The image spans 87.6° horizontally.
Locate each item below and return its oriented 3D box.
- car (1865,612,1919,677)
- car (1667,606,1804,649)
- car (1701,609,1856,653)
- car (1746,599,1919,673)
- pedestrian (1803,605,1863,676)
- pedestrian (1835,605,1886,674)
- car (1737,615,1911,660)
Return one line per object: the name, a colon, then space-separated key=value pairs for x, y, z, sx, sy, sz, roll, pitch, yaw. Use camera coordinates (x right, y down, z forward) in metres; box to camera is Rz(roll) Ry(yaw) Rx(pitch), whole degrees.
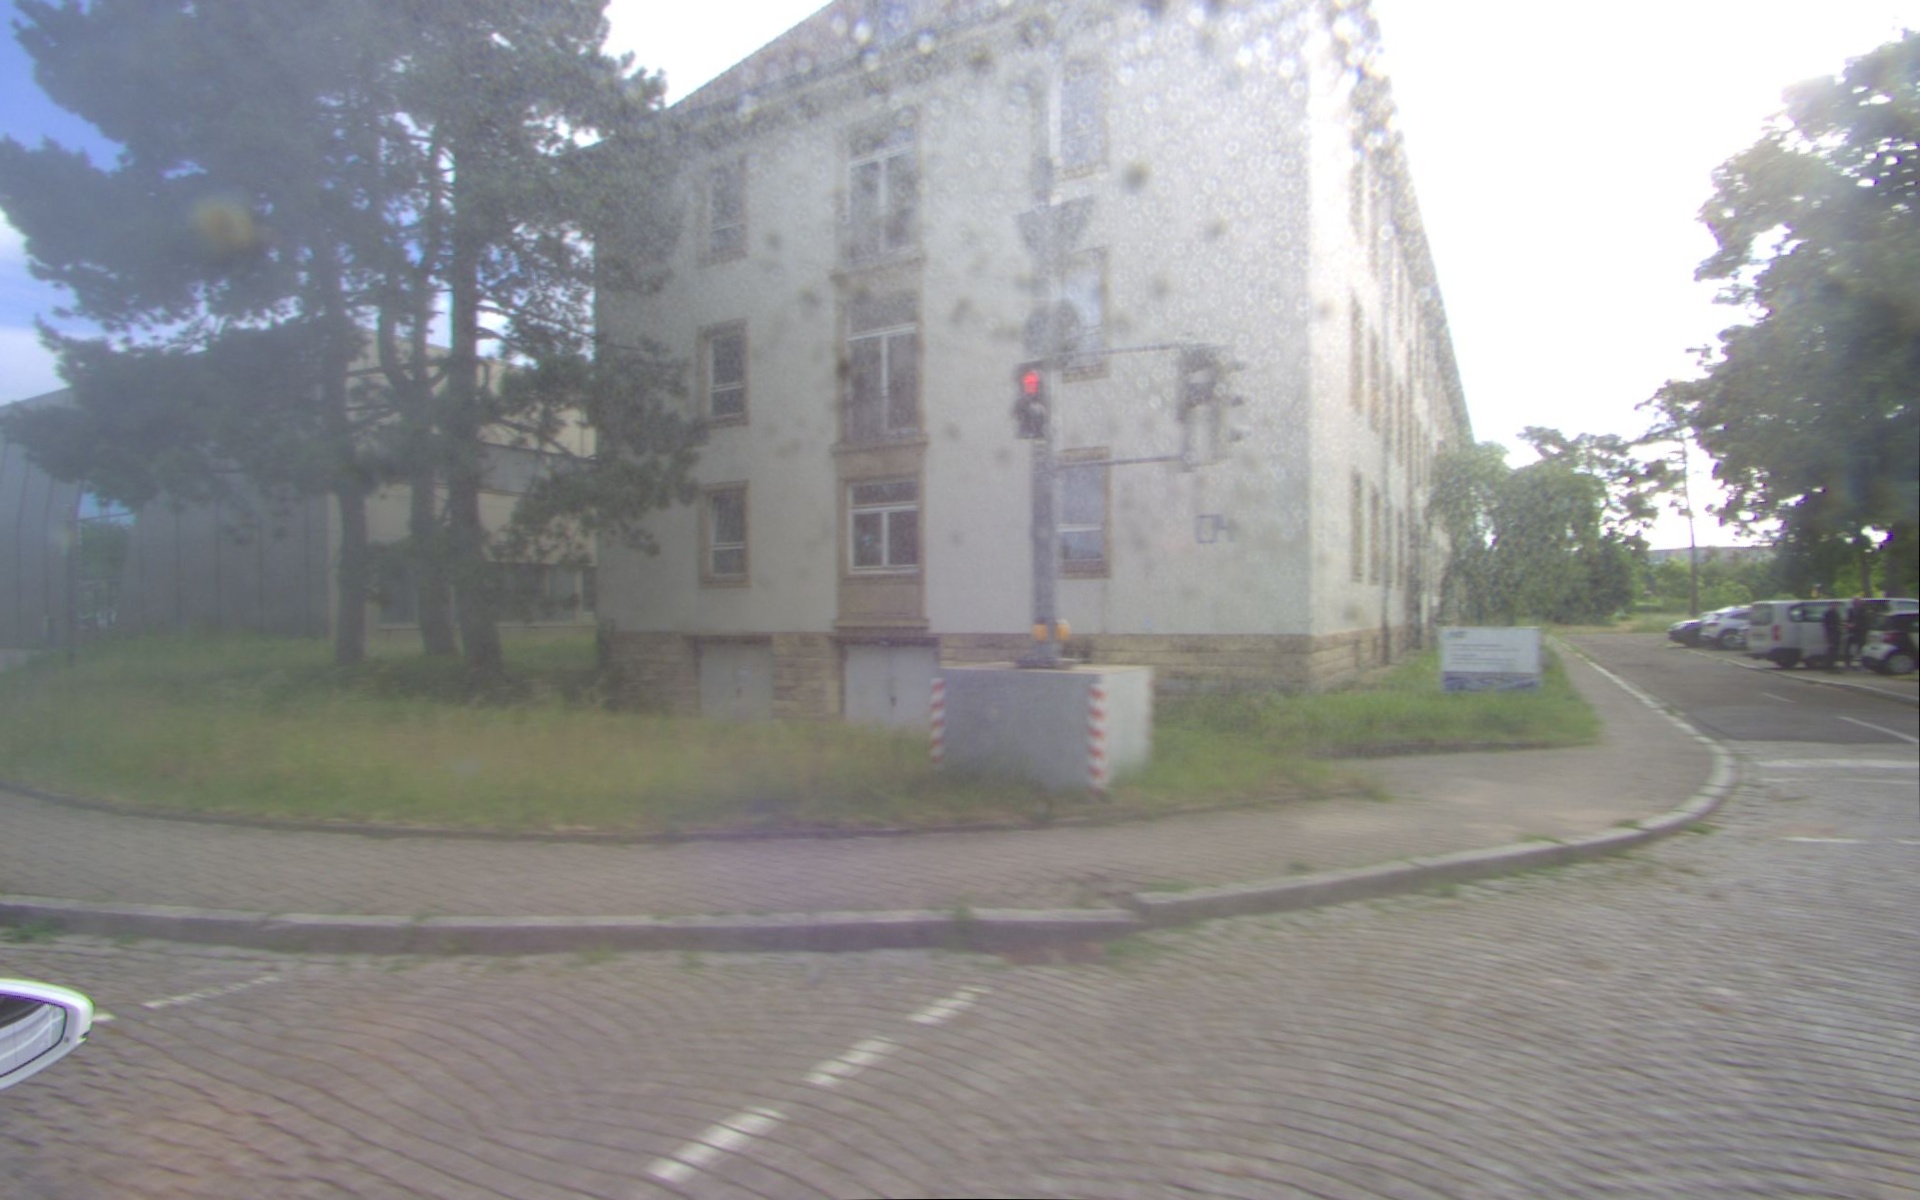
car: x=23.676 y=1.048 z=24.001 sx=2.652 sy=1.528 sz=1.470 roll=-1 pitch=0 yaw=30
car: x=32.722 y=1.163 z=42.404 sx=4.321 sy=1.740 sz=1.991 roll=-1 pitch=-1 yaw=30
car: x=31.914 y=1.185 z=39.220 sx=4.396 sy=1.613 sz=1.772 roll=0 pitch=0 yaw=27
car: x=24.534 y=0.951 z=26.968 sx=5.040 sy=1.909 sz=1.991 roll=-1 pitch=0 yaw=30
pedestrian: x=22.148 y=1.018 z=25.417 sx=0.808 sy=1.760 sz=0.882 roll=0 pitch=0 yaw=-21
pedestrian: x=23.442 y=1.009 z=26.089 sx=0.867 sy=1.760 sz=0.795 roll=0 pitch=0 yaw=33
car: x=29.420 y=1.244 z=34.268 sx=4.184 sy=1.434 sz=1.688 roll=0 pitch=0 yaw=27
